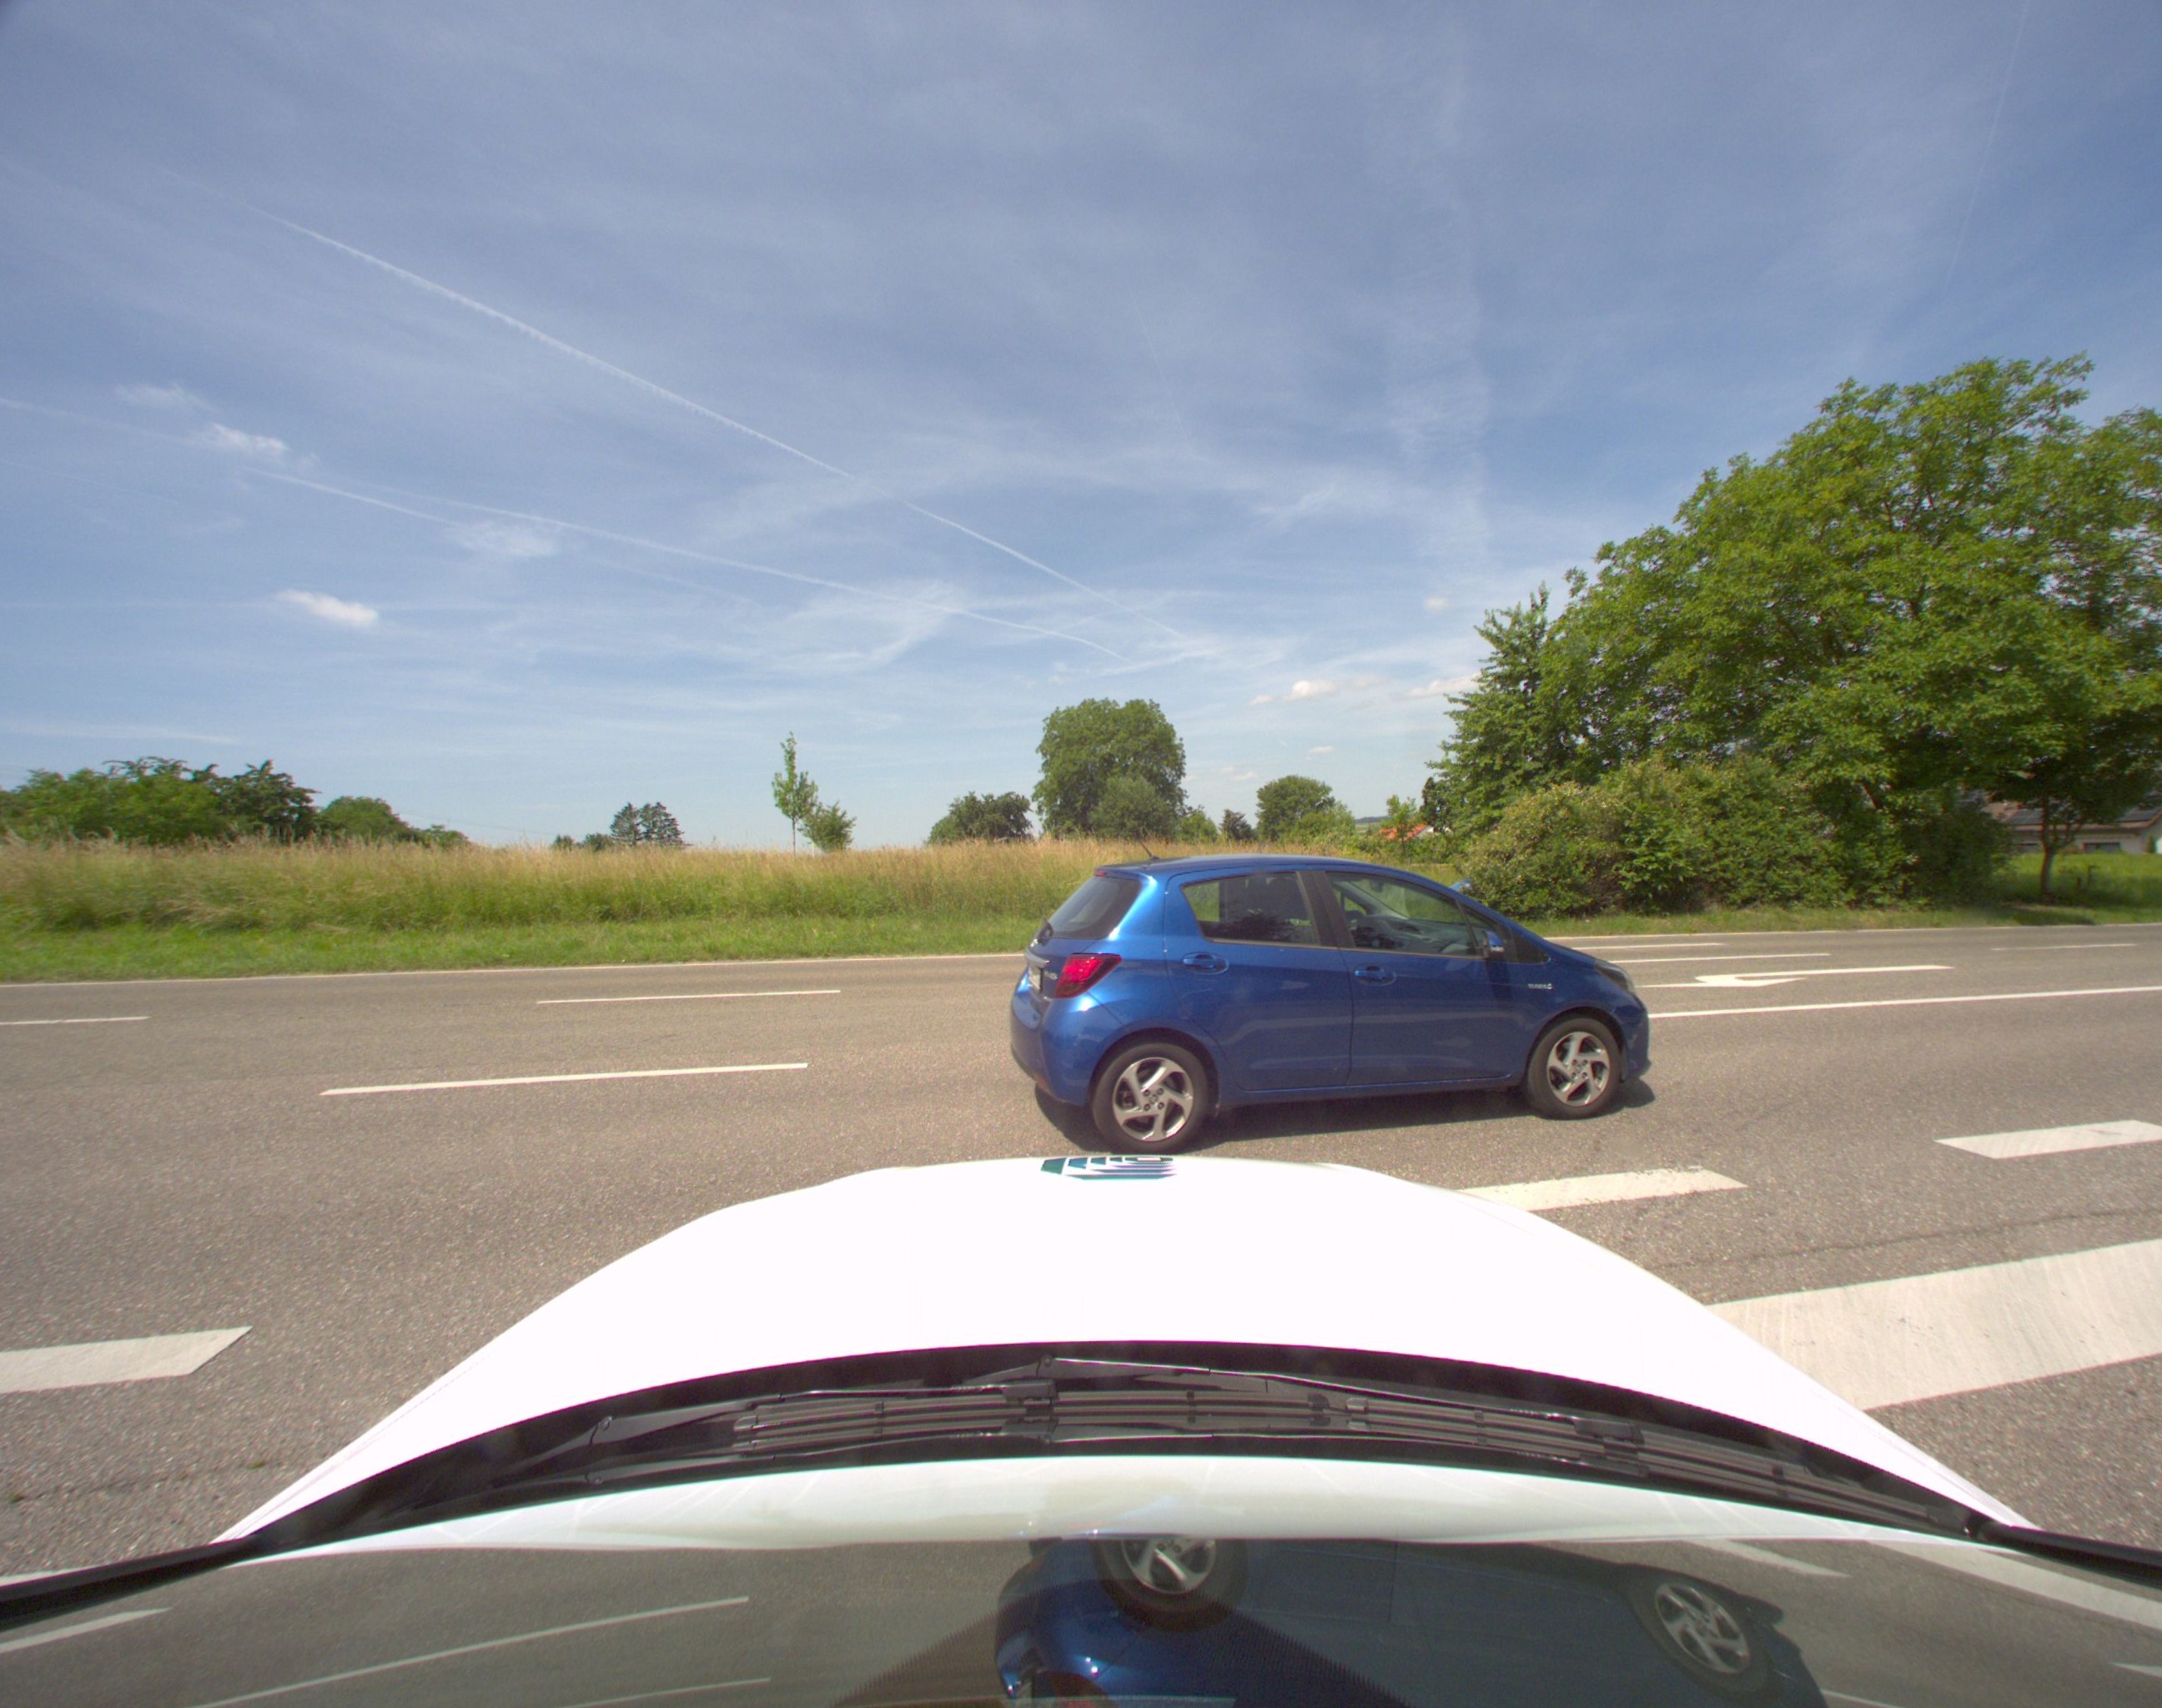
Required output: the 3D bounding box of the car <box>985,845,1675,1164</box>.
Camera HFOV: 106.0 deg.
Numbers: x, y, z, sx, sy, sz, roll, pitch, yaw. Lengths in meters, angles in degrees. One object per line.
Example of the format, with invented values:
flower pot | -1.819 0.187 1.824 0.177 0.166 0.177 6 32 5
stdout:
car | 1.394 0.703 5.077 3.839 1.492 1.607 -1 1 -12
